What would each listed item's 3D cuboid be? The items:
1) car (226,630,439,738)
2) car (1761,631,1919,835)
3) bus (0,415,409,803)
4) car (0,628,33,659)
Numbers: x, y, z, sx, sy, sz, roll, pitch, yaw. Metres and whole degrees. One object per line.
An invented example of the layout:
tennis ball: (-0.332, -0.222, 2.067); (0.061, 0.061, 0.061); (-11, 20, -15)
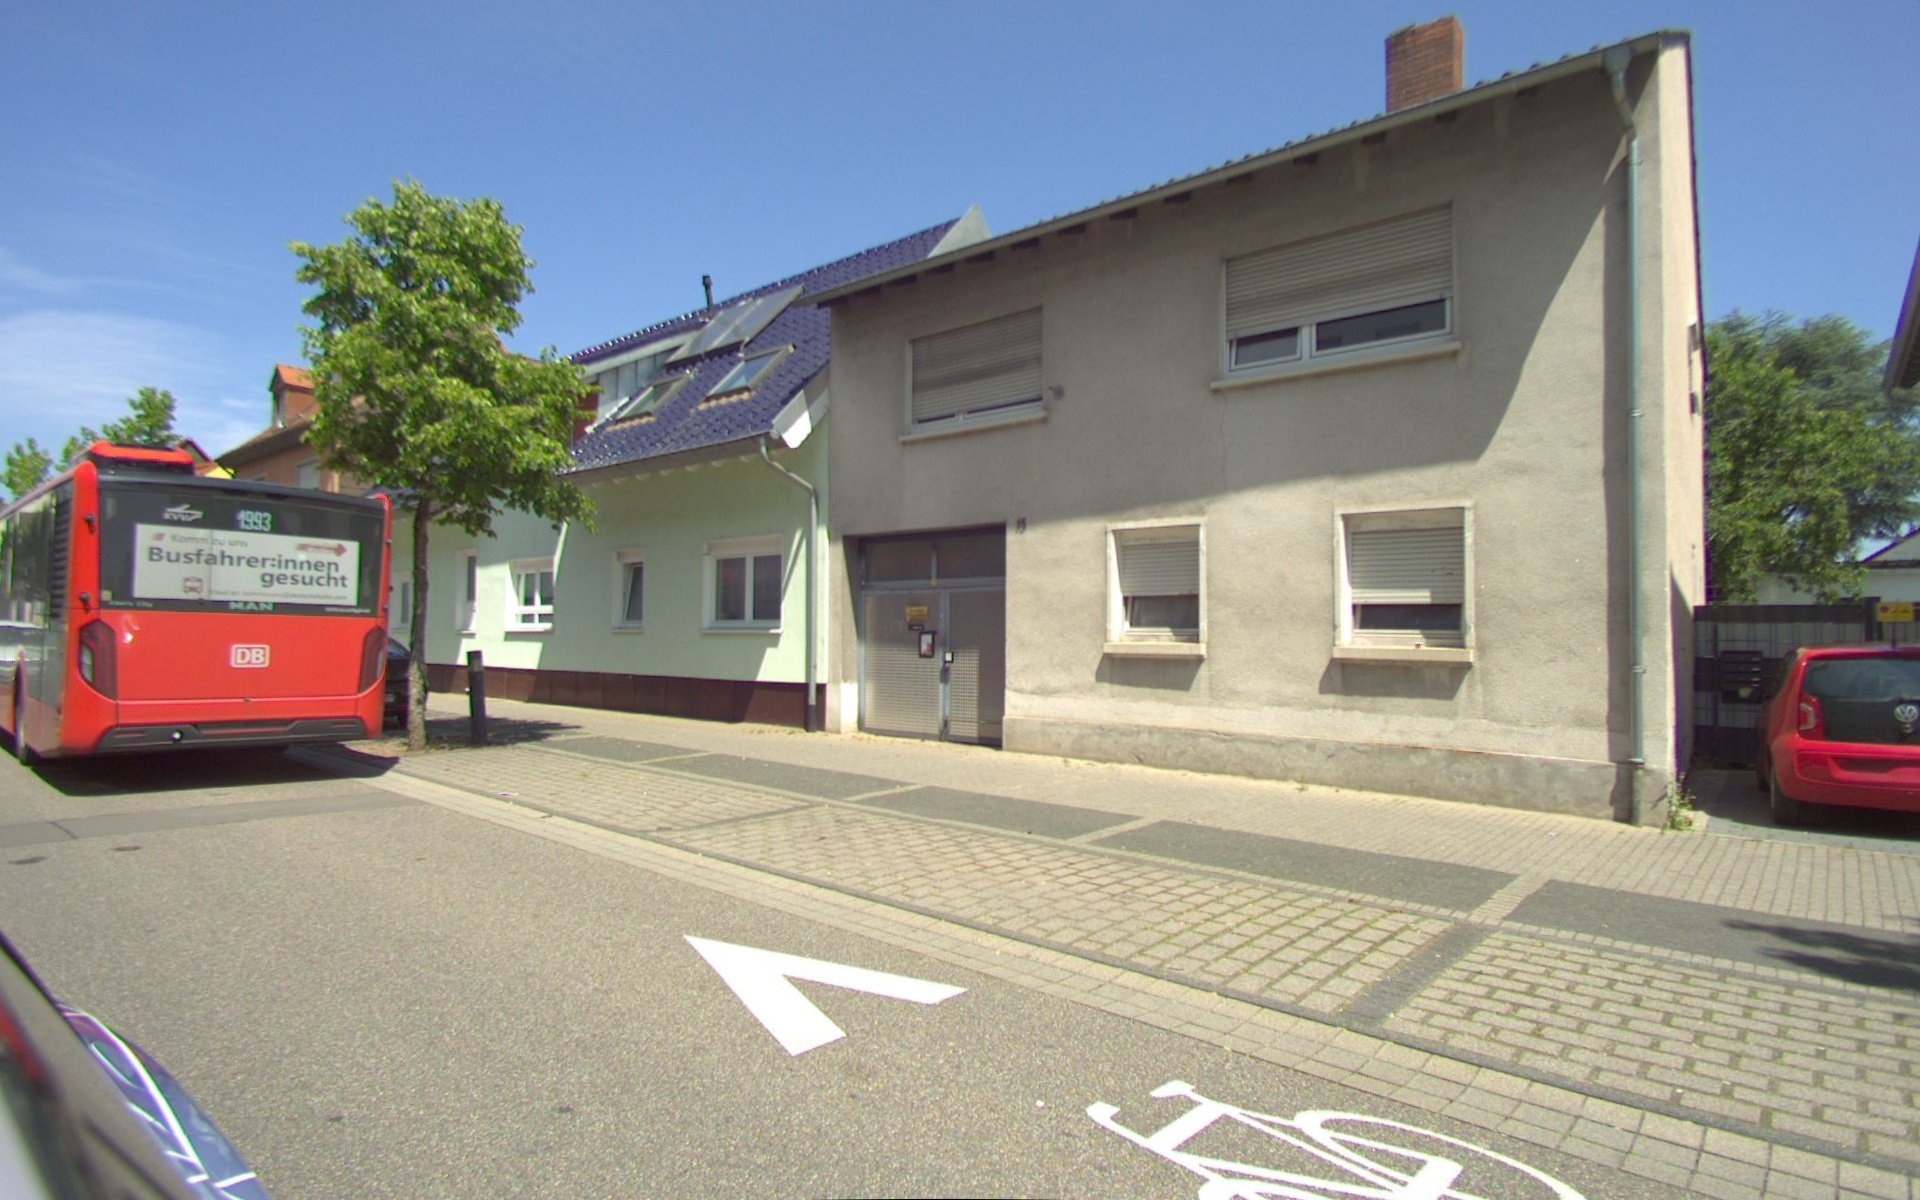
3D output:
car: (-9.865, 1.200, 15.764); (4.538, 1.448, 1.642); (-1, -3, 43)
car: (7.801, 1.000, 8.452); (1.584, 1.454, 3.086); (-1, -3, 36)
bus: (-13.067, 0.289, 15.172); (17.802, 3.148, 2.640); (-1, -4, 42)
car: (-45.522, 2.062, 48.168); (4.157, 1.418, 1.638); (-1, -3, 42)
